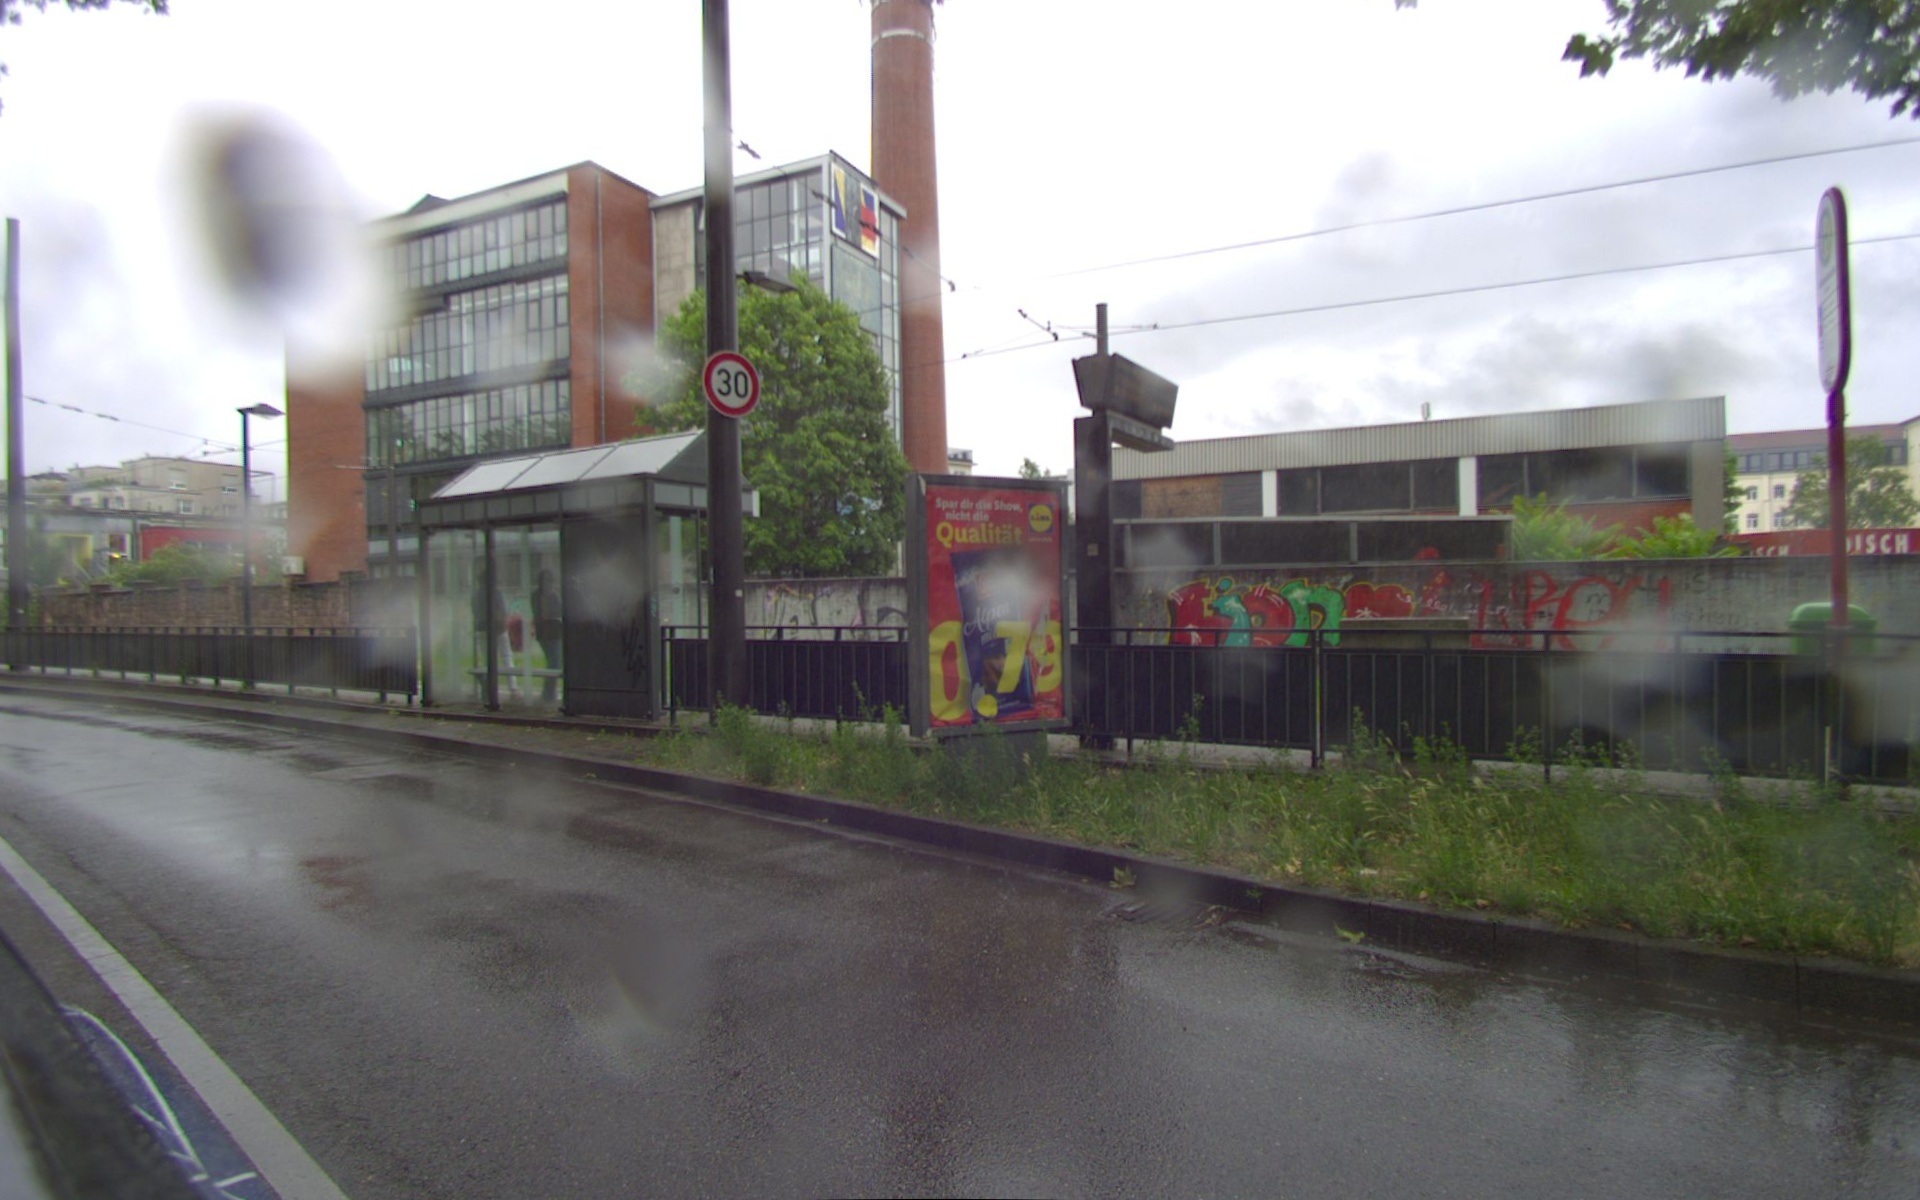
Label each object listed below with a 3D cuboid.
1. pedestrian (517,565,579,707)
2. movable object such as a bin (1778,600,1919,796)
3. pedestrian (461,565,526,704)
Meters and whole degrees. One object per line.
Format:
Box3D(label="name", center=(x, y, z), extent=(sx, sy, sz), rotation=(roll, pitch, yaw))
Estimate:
Box3D(label="pedestrian", center=(-5.182, 0.446, 12.758), extent=(0.560, 1.744, 0.583), rotation=(0, -2, -3))
Box3D(label="movable object such as a bin", center=(5.248, 0.558, 5.978), extent=(0.528, 1.098, 0.414), rotation=(-1, -2, 25))
Box3D(label="pedestrian", center=(-5.962, 0.439, 12.961), extent=(0.560, 1.744, 0.583), rotation=(0, -2, -1))
